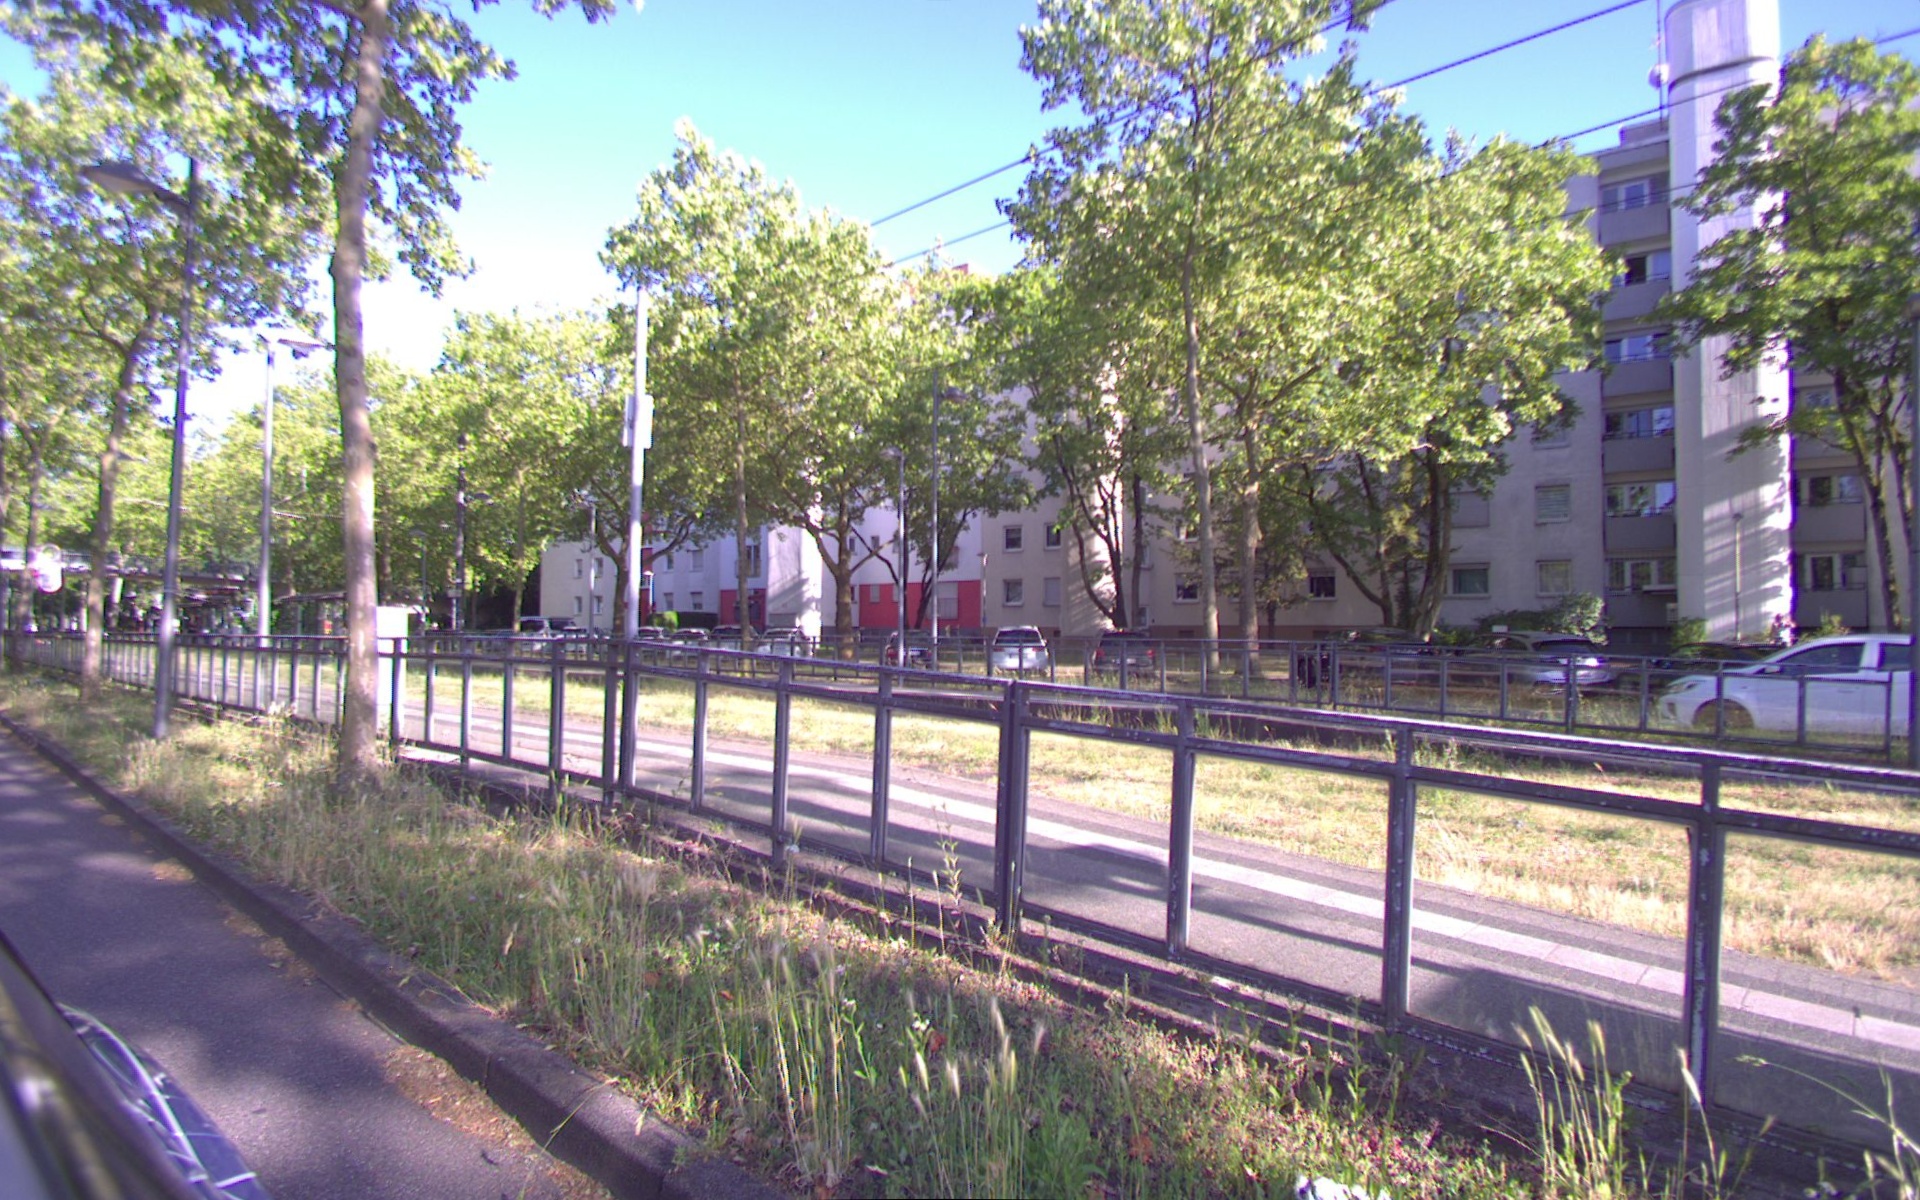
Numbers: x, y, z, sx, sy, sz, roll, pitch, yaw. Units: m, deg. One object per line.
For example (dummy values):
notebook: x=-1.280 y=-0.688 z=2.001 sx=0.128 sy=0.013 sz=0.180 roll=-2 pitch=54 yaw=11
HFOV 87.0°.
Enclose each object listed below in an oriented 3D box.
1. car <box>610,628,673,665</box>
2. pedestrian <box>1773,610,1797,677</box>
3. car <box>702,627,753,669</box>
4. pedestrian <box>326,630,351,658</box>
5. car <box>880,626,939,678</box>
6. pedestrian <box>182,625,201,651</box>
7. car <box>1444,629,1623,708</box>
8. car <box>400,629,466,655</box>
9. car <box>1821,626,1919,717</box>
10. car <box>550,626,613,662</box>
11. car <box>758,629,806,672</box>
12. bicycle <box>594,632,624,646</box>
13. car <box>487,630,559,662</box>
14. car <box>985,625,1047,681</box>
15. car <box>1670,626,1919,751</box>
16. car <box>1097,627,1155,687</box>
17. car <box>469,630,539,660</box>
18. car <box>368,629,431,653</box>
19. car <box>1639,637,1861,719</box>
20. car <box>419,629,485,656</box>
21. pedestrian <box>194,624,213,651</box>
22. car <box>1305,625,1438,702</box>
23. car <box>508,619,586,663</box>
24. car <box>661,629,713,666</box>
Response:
car: x=-14.118 y=2.027 z=45.050 sx=1.870 sy=1.515 sz=4.506 roll=-1 pitch=-1 yaw=-7
pedestrian: x=22.370 y=1.183 z=27.448 sx=0.449 sy=1.805 sz=0.315 roll=-1 pitch=-2 yaw=36
car: x=-9.347 y=1.897 z=40.867 sx=1.551 sy=1.580 sz=4.066 roll=-1 pitch=-1 yaw=-7
pedestrian: x=-26.536 y=1.872 z=43.199 sx=0.662 sy=1.136 sz=0.687 roll=-1 pitch=-5 yaw=43
car: x=-1.704 y=1.656 z=33.162 sx=1.621 sy=1.556 sz=4.181 roll=-1 pitch=-1 yaw=-7
pedestrian: x=-46.579 y=2.305 z=61.330 sx=0.681 sy=1.525 sz=0.638 roll=-1 pitch=-3 yaw=29
car: x=11.636 y=1.338 z=20.792 sx=1.516 sy=1.437 sz=3.388 roll=0 pitch=-1 yaw=-5
car: x=-32.121 y=2.536 z=61.837 sx=1.678 sy=1.439 sz=4.196 roll=-2 pitch=-1 yaw=3
car: x=16.572 y=1.196 z=16.877 sx=1.549 sy=1.442 sz=3.287 roll=-1 pitch=-1 yaw=-1
car: x=-18.353 y=2.102 z=49.239 sx=1.665 sy=1.623 sz=4.061 roll=-1 pitch=-1 yaw=-2
car: x=-6.653 y=1.863 z=38.134 sx=1.551 sy=1.485 sz=4.066 roll=-1 pitch=-1 yaw=-7
bicycle: x=-24.246 y=2.687 z=69.931 sx=2.592 sy=0.935 sz=0.688 roll=-3 pitch=-2 yaw=39
car: x=-23.028 y=2.414 z=53.513 sx=1.873 sy=1.509 sz=4.500 roll=-2 pitch=-1 yaw=0
car: x=1.635 y=1.549 z=30.538 sx=1.623 sy=1.556 sz=3.992 roll=-1 pitch=-1 yaw=0
car: x=11.642 y=1.093 z=13.213 sx=3.717 sy=1.460 sz=1.614 roll=-1 pitch=-1 yaw=42
car: x=4.530 y=1.518 z=27.807 sx=1.448 sy=1.520 sz=3.375 roll=-1 pitch=-1 yaw=8
car: x=-25.318 y=2.463 z=56.336 sx=1.873 sy=1.509 sz=4.500 roll=-2 pitch=-1 yaw=0
car: x=-36.888 y=2.657 z=66.692 sx=1.678 sy=1.439 sz=4.196 roll=-2 pitch=-1 yaw=3
car: x=14.239 y=1.355 z=18.486 sx=1.445 sy=1.263 sz=3.382 roll=0 pitch=-1 yaw=2
car: x=-30.032 y=2.499 z=59.968 sx=1.678 sy=1.439 sz=4.196 roll=-2 pitch=-1 yaw=3
pedestrian: x=-45.864 y=2.274 z=61.377 sx=0.715 sy=1.647 sz=0.721 roll=-1 pitch=-3 yaw=40
car: x=9.163 y=1.370 z=22.783 sx=1.442 sy=1.559 sz=3.142 roll=-1 pitch=-1 yaw=-5
car: x=-20.745 y=2.018 z=51.012 sx=1.875 sy=2.079 sz=4.495 roll=-2 pitch=-1 yaw=3
car: x=-11.591 y=1.986 z=43.211 sx=1.551 sy=1.443 sz=4.066 roll=-1 pitch=-1 yaw=-7
